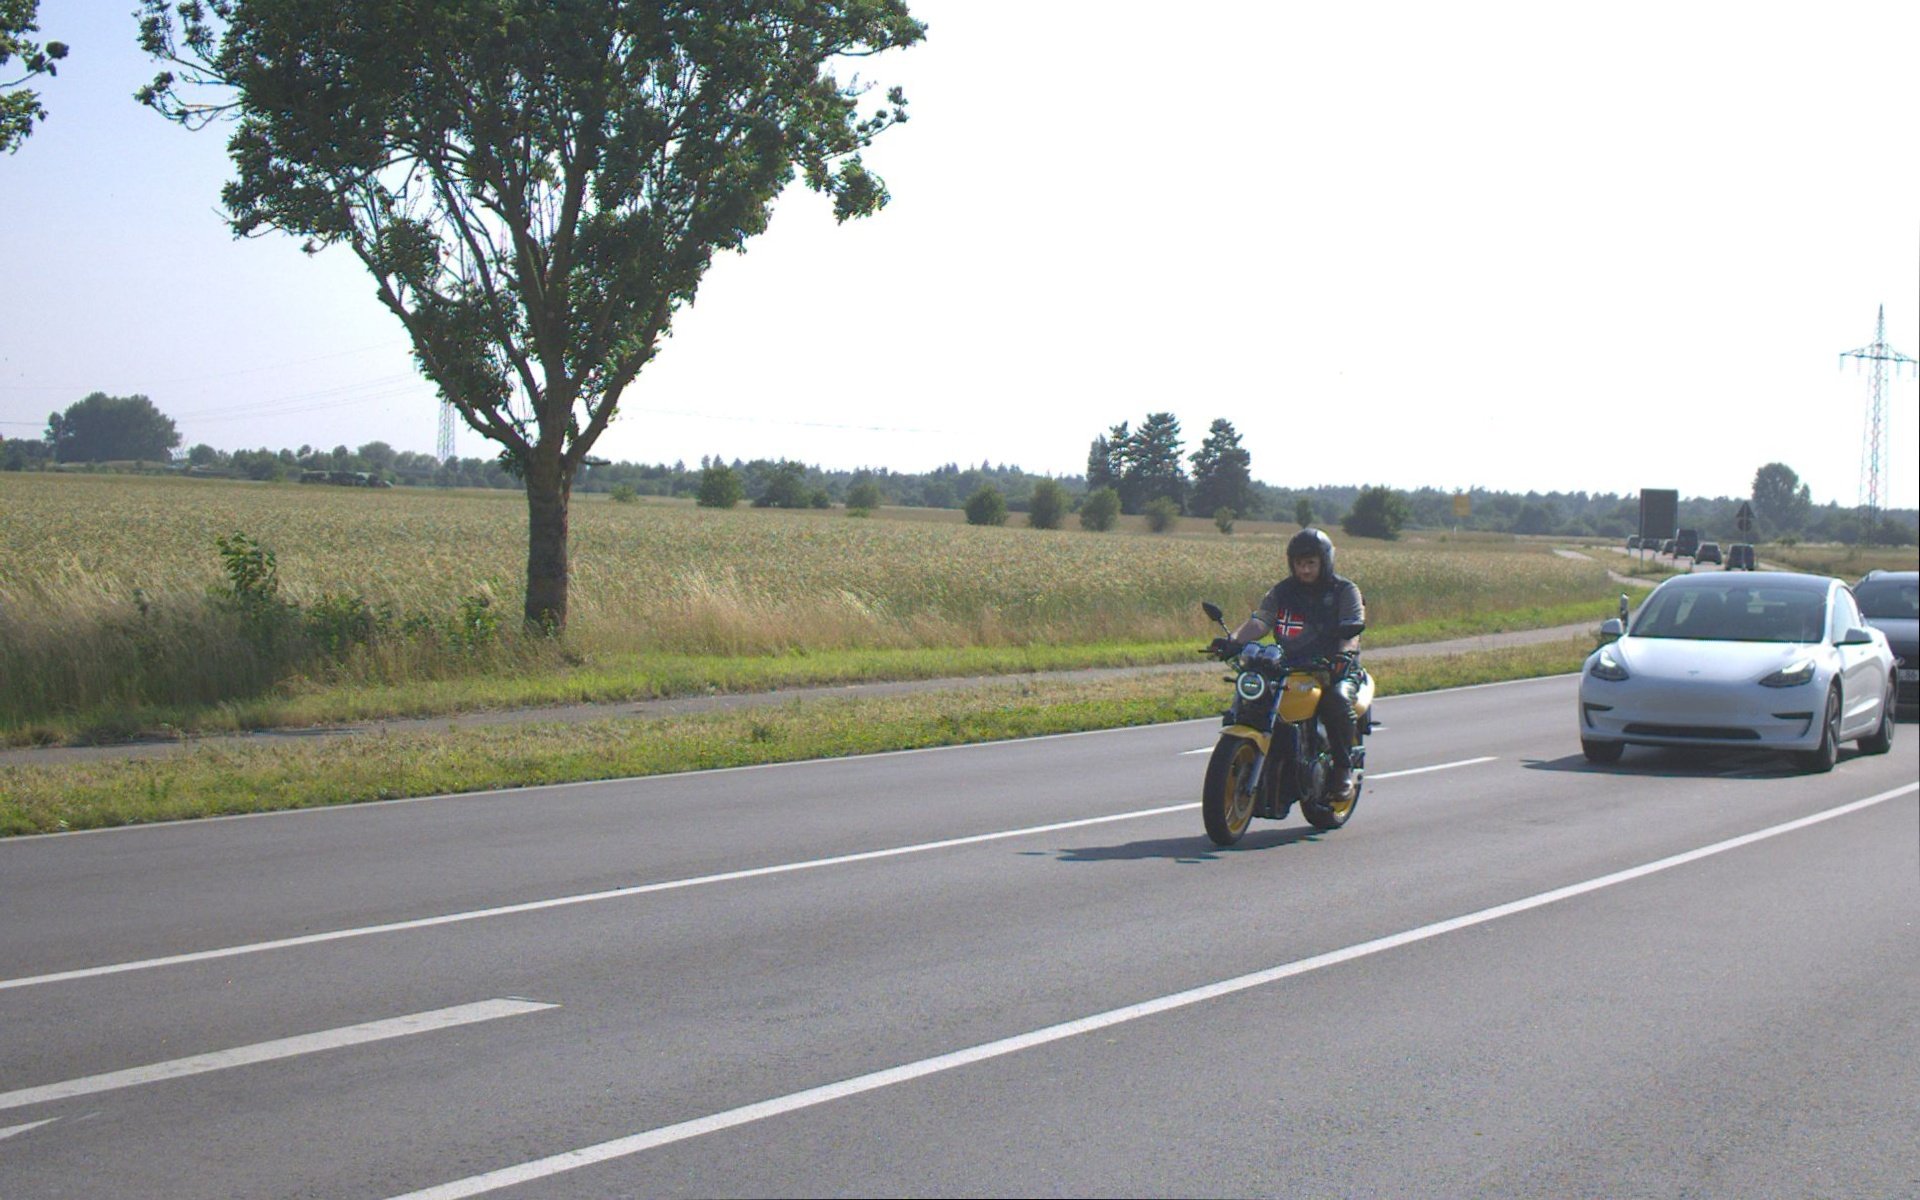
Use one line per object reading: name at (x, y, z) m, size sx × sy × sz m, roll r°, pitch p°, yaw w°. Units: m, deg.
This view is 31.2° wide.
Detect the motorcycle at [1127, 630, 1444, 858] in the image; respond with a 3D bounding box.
motorcycle at (1.760, 0.719, 18.162) m, size 0.898 × 1.040 × 2.425 m, roll 2°, pitch 2°, yaw 24°

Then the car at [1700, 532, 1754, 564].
car at (52.833, -3.604, 236.838) m, size 1.839 × 1.827 × 4.470 m, roll 5°, pitch 3°, yaw -10°

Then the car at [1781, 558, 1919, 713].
car at (9.799, 0.346, 35.353) m, size 1.892 × 1.456 × 4.300 m, roll 2°, pitch 1°, yaw 23°

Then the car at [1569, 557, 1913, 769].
car at (6.140, 0.430, 26.676) m, size 1.892 × 1.461 × 4.271 m, roll 2°, pitch 1°, yaw 22°

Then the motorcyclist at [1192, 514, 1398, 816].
motorcyclist at (1.771, 0.321, 18.053) m, size 0.680 × 1.510 × 1.179 m, roll 2°, pitch 1°, yaw 25°
